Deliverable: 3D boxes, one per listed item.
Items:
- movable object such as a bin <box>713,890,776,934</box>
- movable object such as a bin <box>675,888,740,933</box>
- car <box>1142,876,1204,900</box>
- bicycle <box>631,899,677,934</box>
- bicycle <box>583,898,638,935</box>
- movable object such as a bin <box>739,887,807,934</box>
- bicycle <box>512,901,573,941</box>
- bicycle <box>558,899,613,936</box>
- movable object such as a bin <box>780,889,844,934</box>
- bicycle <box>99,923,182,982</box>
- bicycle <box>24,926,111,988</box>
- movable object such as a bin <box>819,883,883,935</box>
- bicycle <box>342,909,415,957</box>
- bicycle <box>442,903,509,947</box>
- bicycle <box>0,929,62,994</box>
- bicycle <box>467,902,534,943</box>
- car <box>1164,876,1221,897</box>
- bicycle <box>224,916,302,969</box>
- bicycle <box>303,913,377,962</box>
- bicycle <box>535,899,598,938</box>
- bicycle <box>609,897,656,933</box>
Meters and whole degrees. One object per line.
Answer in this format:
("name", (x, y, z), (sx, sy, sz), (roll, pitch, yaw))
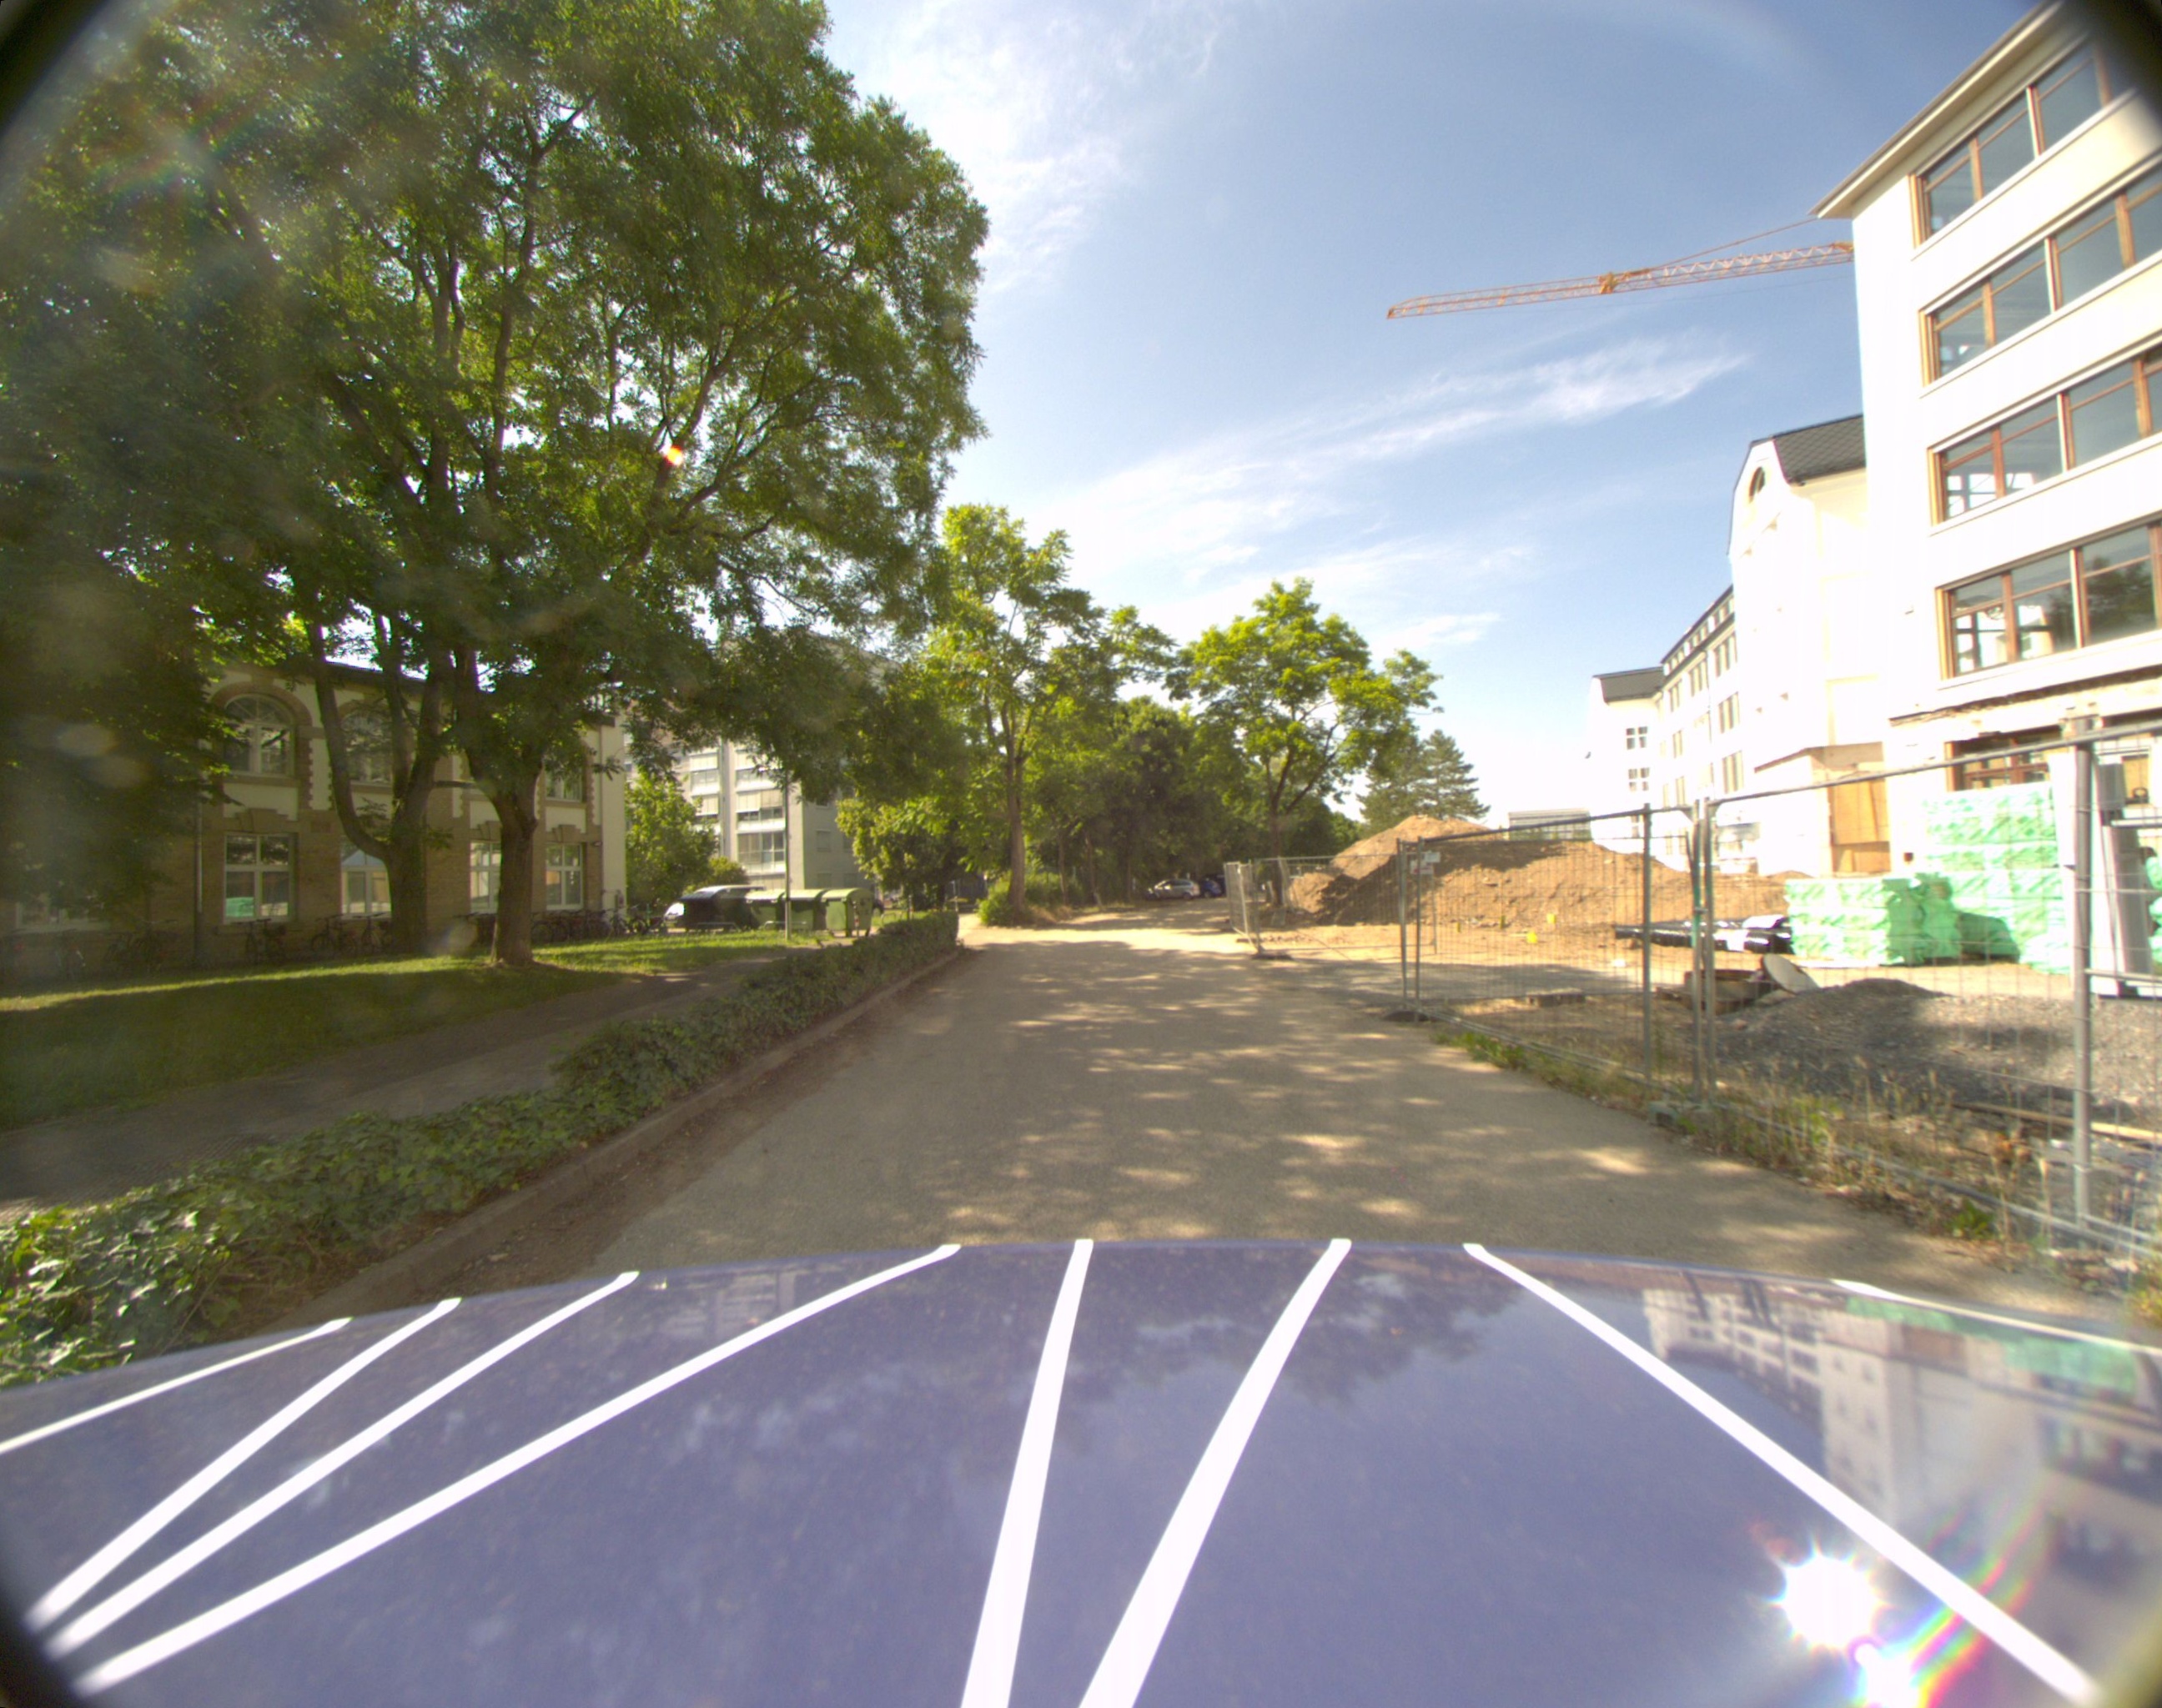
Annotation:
("movable object such as a bin", (-10.895, 1.860, 24.624), (1.349, 1.341, 1.217), (-2, -1, 21))
("movable object such as a bin", (-12.368, 1.857, 25.171), (1.433, 1.401, 1.252), (-2, -1, 20))
("car", (6.514, 2.407, 53.817), (3.991, 1.499, 2.003), (-2, -2, 19))
("bicycle", (-14.709, 2.141, 26.140), (1.940, 1.154, 0.558), (-3, -1, 34))
("bicycle", (-15.591, 2.066, 25.175), (1.847, 1.154, 0.614), (-3, -1, 24))
("movable object such as a bin", (-9.629, 1.756, 23.780), (1.499, 1.353, 1.217), (-2, -1, 21))
("bicycle", (-16.404, 2.029, 23.141), (1.917, 1.154, 0.589), (-3, -1, 24))
("bicycle", (-15.902, 2.037, 24.368), (1.909, 1.154, 0.495), (-3, -1, 24))
("movable object such as a bin", (-8.206, 1.757, 23.235), (1.352, 1.292, 1.217), (-2, -1, 21))
("bicycle", (-19.916, 2.066, 16.083), (2.097, 1.154, 0.589), (-3, -1, 24))
("bicycle", (-20.361, 2.043, 15.260), (2.097, 1.154, 0.589), (-3, -1, 24))
("movable object such as a bin", (-6.855, 1.623, 22.656), (1.389, 1.454, 1.218), (-3, -1, 36))
("bicycle", (-18.195, 2.044, 19.665), (2.097, 1.154, 0.589), (-3, -1, 24))
("bicycle", (-17.183, 2.010, 21.554), (2.097, 1.154, 0.589), (-3, -1, 24))
("bicycle", (-20.506, 2.045, 14.640), (2.097, 1.154, 0.589), (-3, -1, 24))
("bicycle", (-16.956, 1.999, 22.188), (2.097, 1.154, 0.589), (-3, -1, 24))
("car", (8.631, 2.514, 58.779), (3.991, 1.433, 2.003), (-2, -2, 19))
("bicycle", (-19.083, 2.042, 17.716), (2.097, 1.154, 0.589), (-3, -1, 24))
("bicycle", (-18.483, 2.067, 18.943), (2.097, 1.154, 0.589), (-3, -1, 24))
("bicycle", (-16.159, 2.027, 23.854), (2.097, 1.154, 0.589), (-3, -1, 24))
("bicycle", (-15.182, 2.060, 25.702), (1.800, 1.154, 0.508), (-3, -1, 29))
